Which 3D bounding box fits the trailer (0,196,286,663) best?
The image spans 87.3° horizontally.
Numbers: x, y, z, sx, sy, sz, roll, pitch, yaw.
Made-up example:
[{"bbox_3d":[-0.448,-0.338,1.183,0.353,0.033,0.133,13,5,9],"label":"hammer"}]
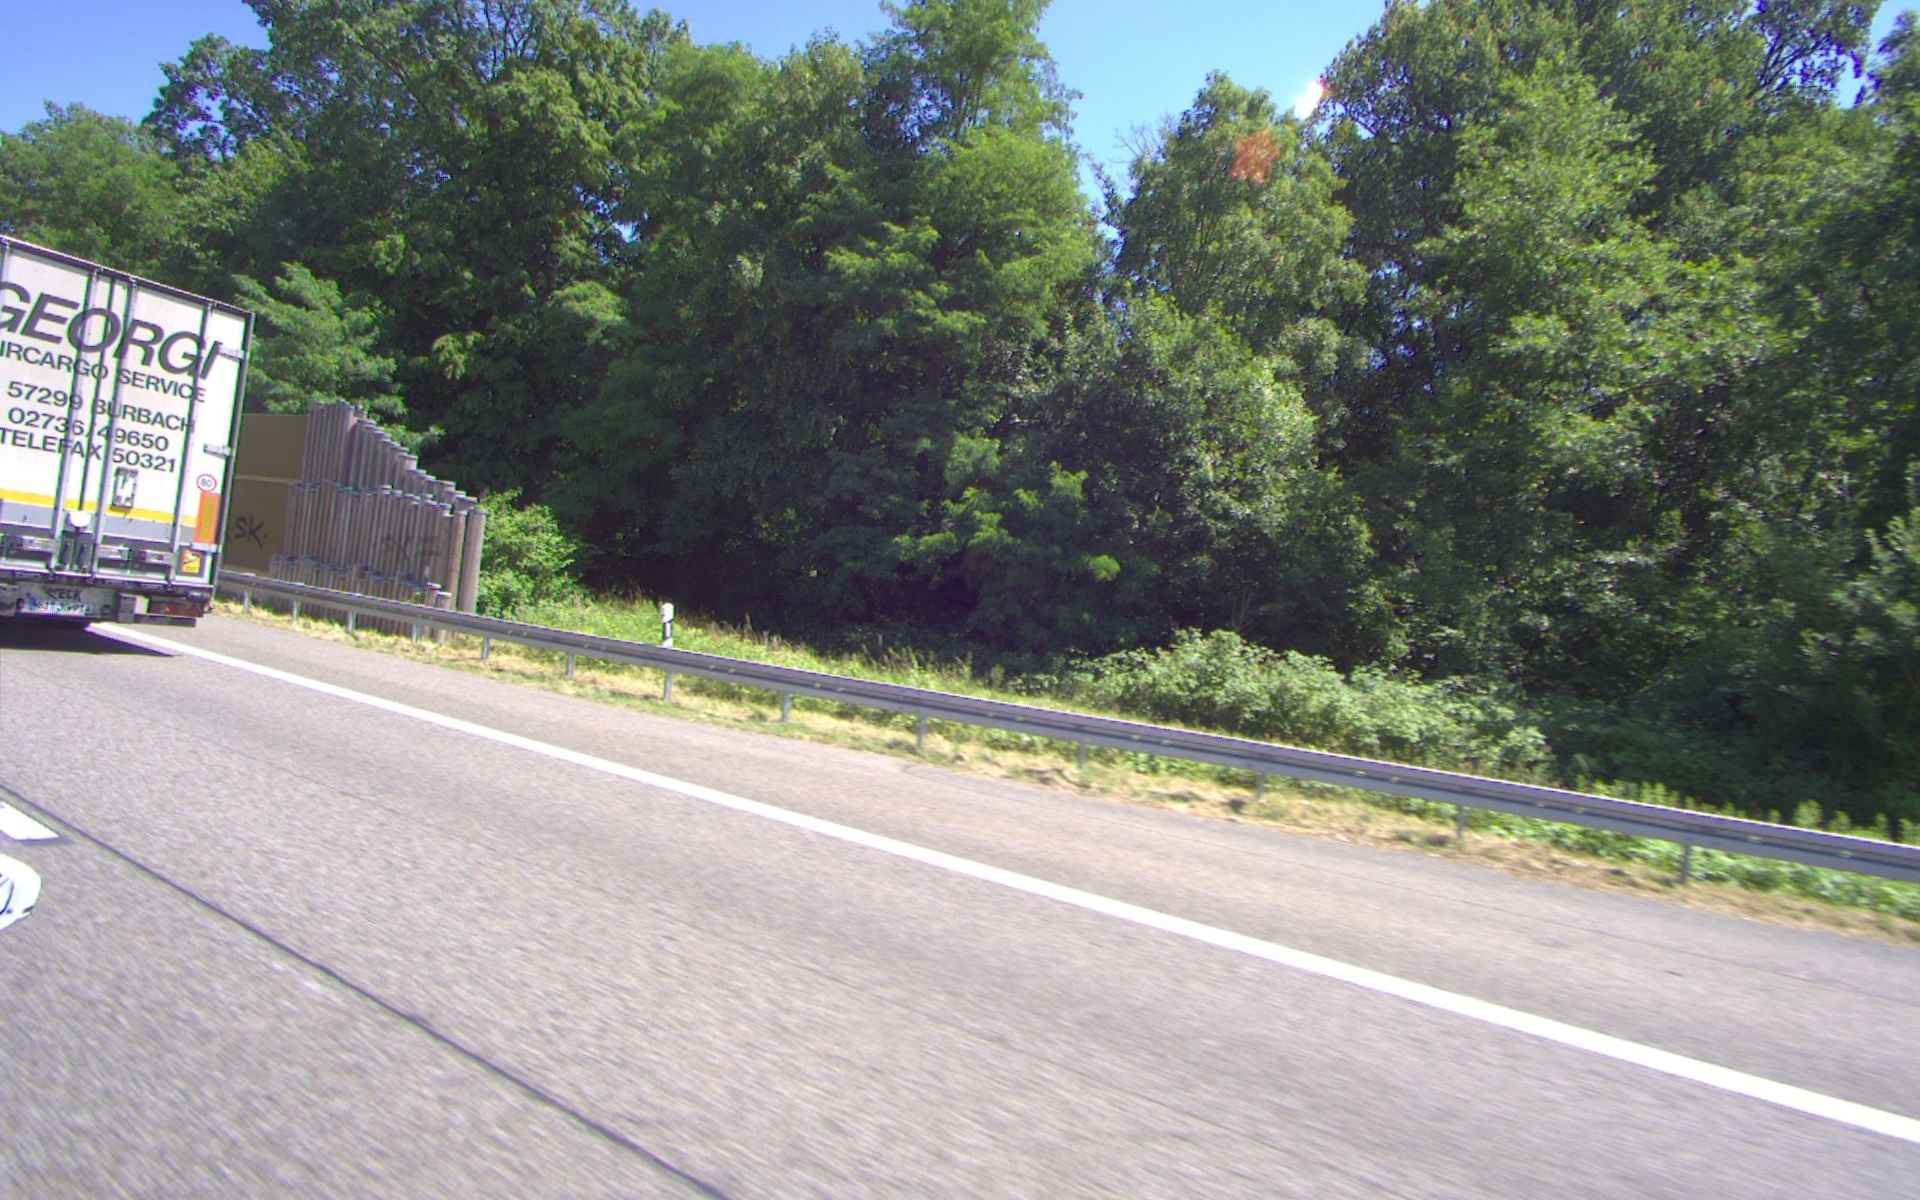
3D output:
[{"bbox_3d":[-14.445,-2.206,13.831,13.195,4.339,2.999,7,-1,32],"label":"trailer"}]
